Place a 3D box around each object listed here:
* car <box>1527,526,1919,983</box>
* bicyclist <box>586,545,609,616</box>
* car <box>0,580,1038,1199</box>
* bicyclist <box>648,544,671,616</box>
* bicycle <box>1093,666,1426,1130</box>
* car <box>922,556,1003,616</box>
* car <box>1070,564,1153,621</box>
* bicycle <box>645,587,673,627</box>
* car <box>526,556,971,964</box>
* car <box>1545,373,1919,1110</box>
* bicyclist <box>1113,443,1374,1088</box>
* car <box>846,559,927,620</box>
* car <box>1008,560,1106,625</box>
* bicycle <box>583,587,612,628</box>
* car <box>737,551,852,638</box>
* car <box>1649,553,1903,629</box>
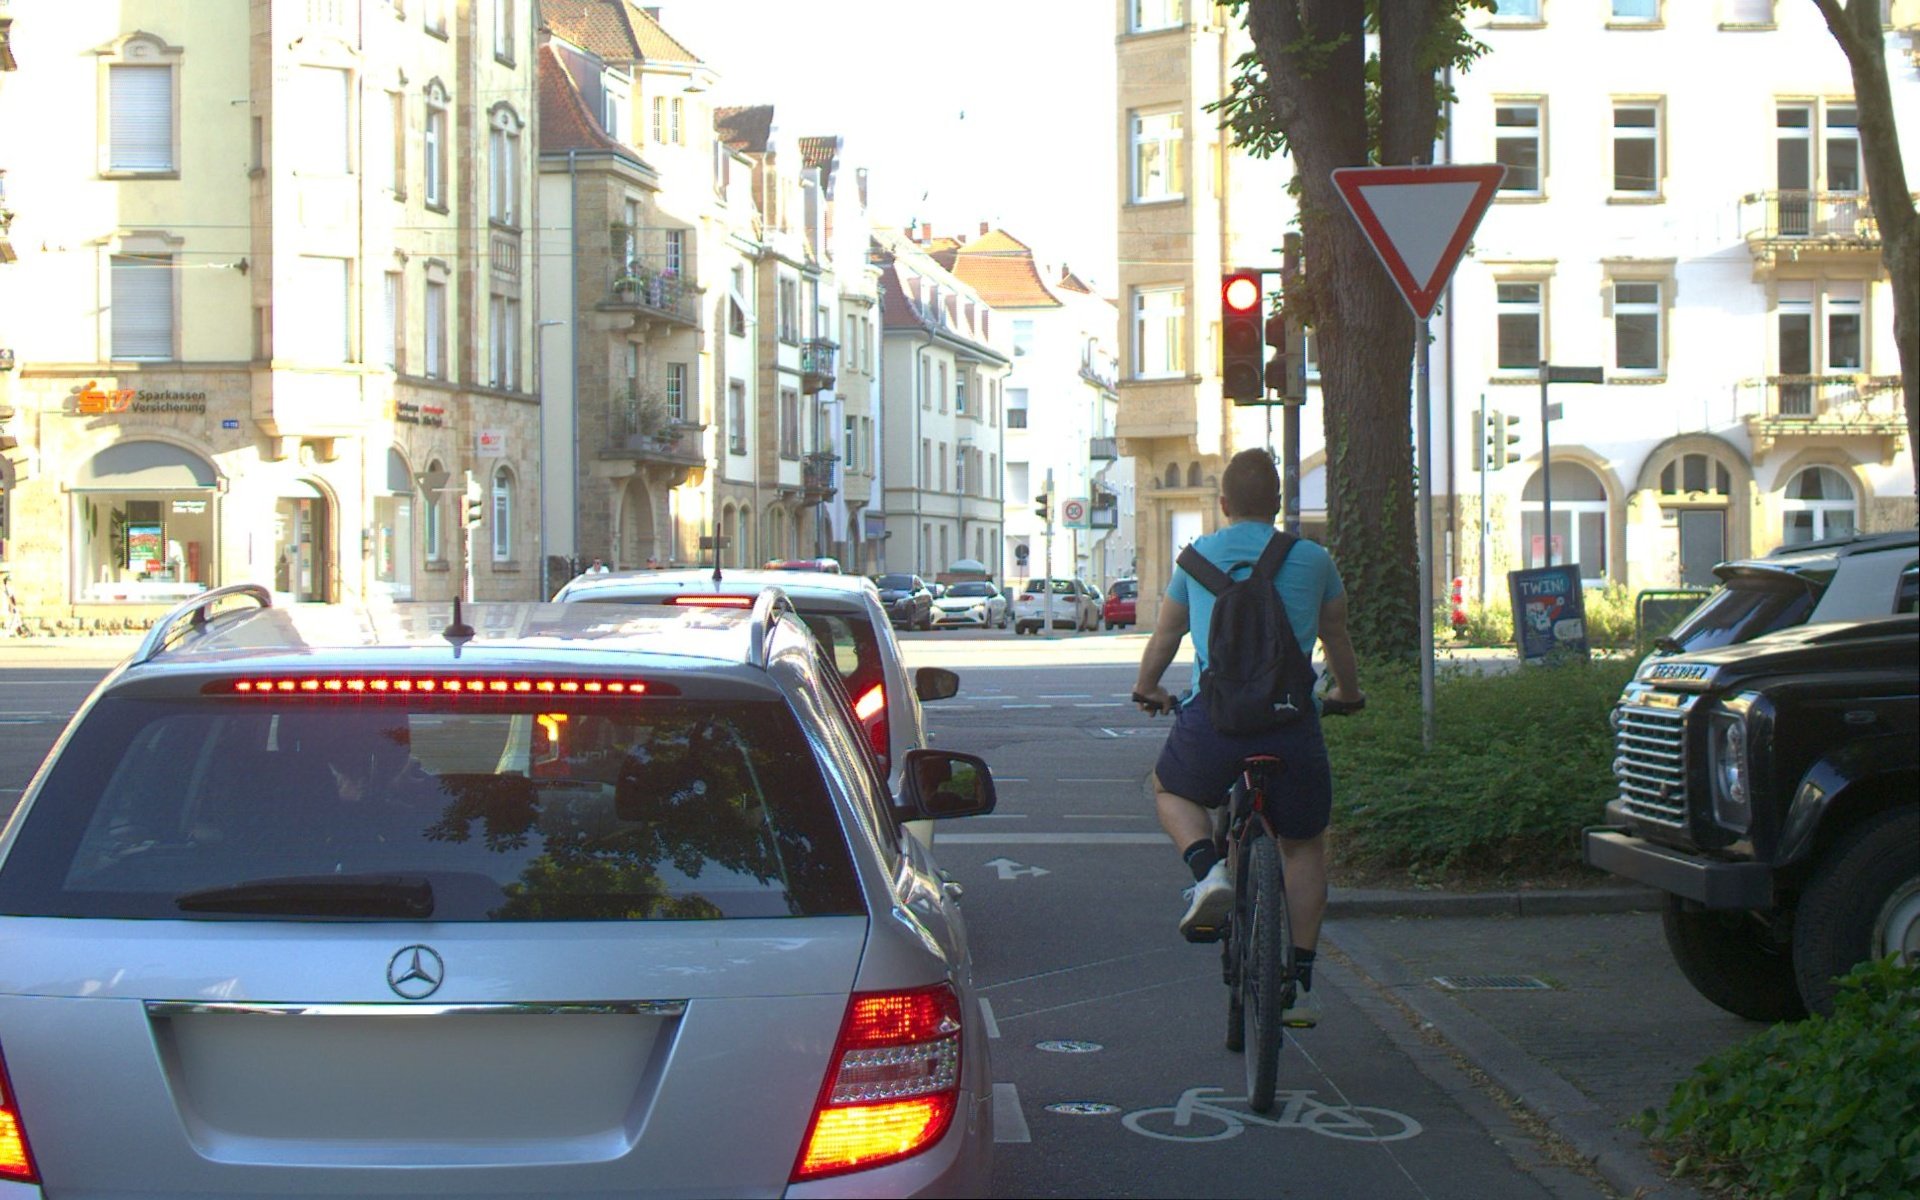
[{"bbox_3d":[4.120,0.500,13.145,3.480,1.580,1.711,-2,1,-6],"label":"car"},{"bbox_3d":[-7.721,-0.422,73.258,0.466,1.509,0.655,0,1,-4],"label":"bicyclist"},{"bbox_3d":[-0.842,0.707,6.485,1.690,1.424,3.493,1,1,-3],"label":"car"},{"bbox_3d":[-6.411,-0.427,73.324,0.466,1.516,0.694,0,1,-4],"label":"bicyclist"},{"bbox_3d":[0.812,0.791,9.890,0.742,1.114,2.013,1,1,-1],"label":"bicycle"},{"bbox_3d":[0.094,-0.426,100.844,1.687,1.716,3.998,0,1,10],"label":"car"},{"bbox_3d":[4.529,-0.233,102.089,1.722,1.473,3.998,-4,1,12],"label":"car"},{"bbox_3d":[-6.410,0.145,73.285,0.568,0.832,1.566,0,1,-4],"label":"bicycle"},{"bbox_3d":[-0.801,0.533,13.707,1.533,1.386,3.600,0,1,-2],"label":"car"},{"bbox_3d":[4.189,0.289,10.188,4.490,1.949,1.793,-2,1,-3],"label":"car"},{"bbox_3d":[0.798,0.452,9.877,0.646,1.769,0.831,1,0,-1],"label":"bicyclist"},{"bbox_3d":[-2.171,-0.310,102.439,1.651,1.777,3.861,0,0,11],"label":"car"},{"bbox_3d":[2.453,-0.198,85.924,1.722,1.473,3.998,-2,1,12],"label":"car"},{"bbox_3d":[-7.714,0.157,73.188,0.568,0.832,1.566,0,1,-4],"label":"bicycle"},{"bbox_3d":[-3.799,-0.157,79.769,1.938,1.952,4.149,0,1,8],"label":"car"},{"bbox_3d":[11.892,-0.140,50.182,3.364,1.065,1.380,0,1,-1],"label":"car"}]
